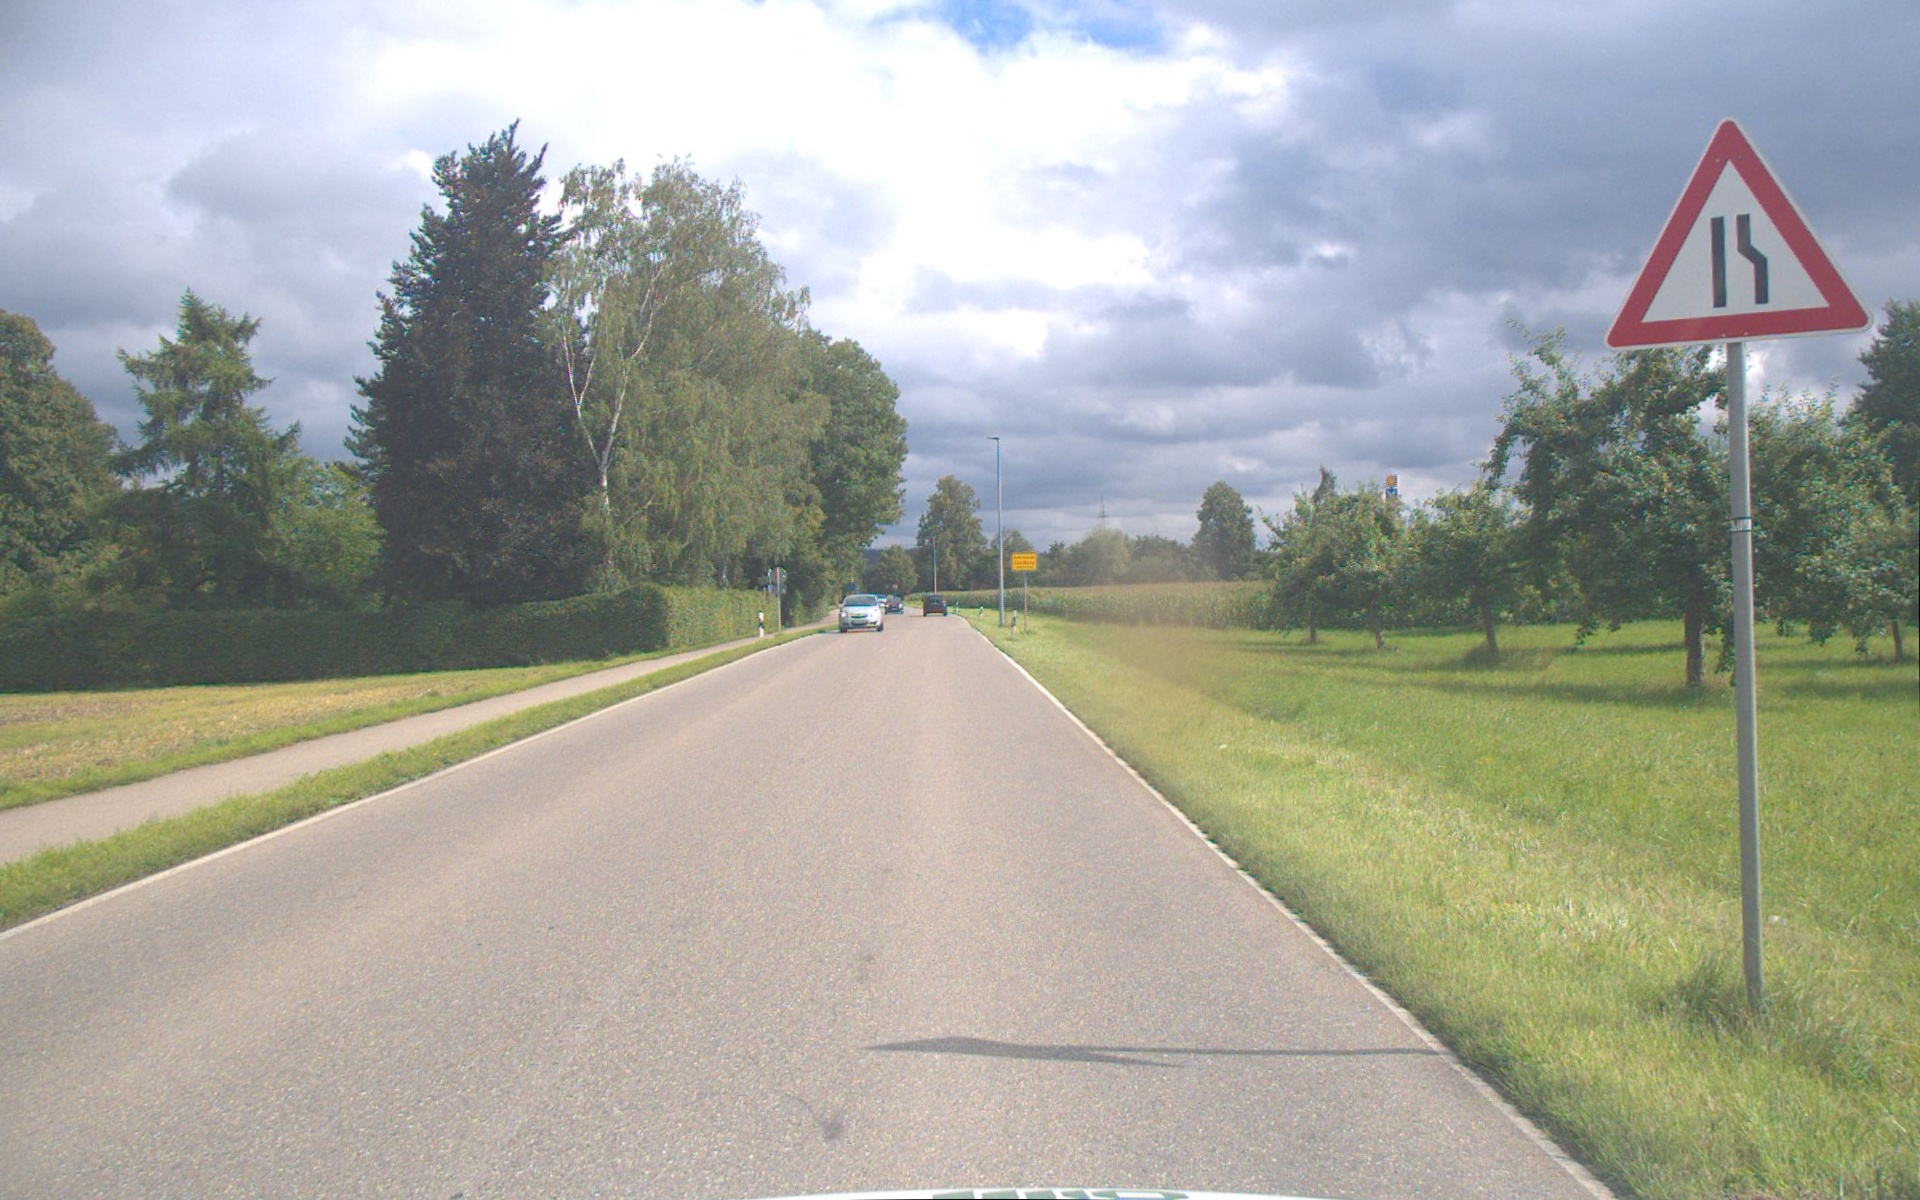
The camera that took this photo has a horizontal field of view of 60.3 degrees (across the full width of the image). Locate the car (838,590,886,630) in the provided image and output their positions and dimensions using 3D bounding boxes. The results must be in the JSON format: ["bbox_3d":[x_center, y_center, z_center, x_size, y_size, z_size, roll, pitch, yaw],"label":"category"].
[{"bbox_3d":[-3.839,0.376,65.159,1.660,1.484,3.542,-2,0,-1],"label":"car"}]

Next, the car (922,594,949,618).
[{"bbox_3d":[-1.878,0.460,128.034,1.869,1.695,3.997,-2,0,-3],"label":"car"}]

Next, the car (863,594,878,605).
[{"bbox_3d":[-11.337,-0.086,210.259,1.710,1.243,3.542,-2,0,-1],"label":"car"}]

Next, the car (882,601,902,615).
[{"bbox_3d":[-6.119,0.714,149.196,1.710,1.243,3.542,-2,0,-1],"label":"car"}]
